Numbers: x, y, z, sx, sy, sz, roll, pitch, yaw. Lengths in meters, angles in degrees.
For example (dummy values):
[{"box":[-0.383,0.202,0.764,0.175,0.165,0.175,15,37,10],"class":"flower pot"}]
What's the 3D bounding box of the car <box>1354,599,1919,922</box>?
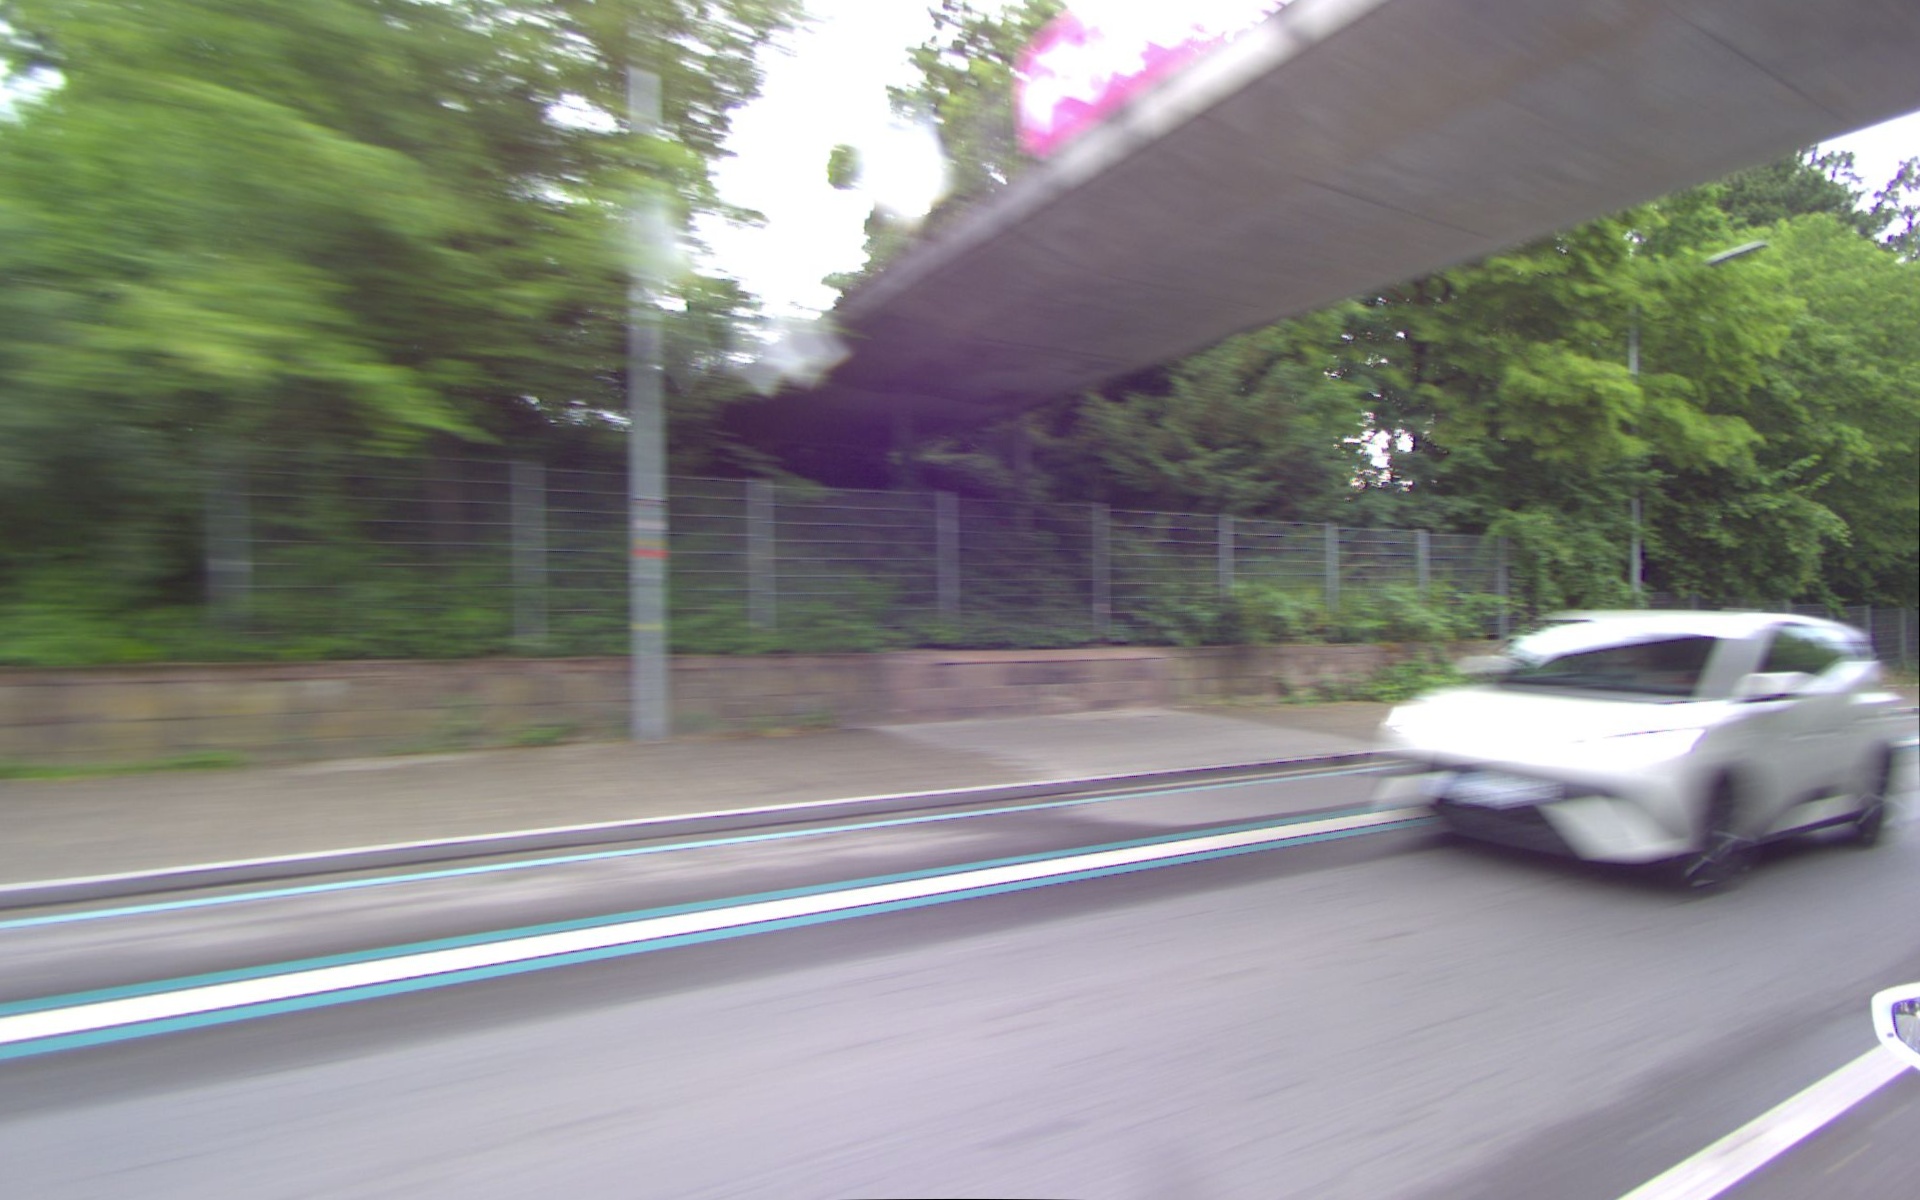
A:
[{"box":[4.714,0.817,6.760,3.827,1.572,1.961,1,-1,-32],"class":"car"}]
